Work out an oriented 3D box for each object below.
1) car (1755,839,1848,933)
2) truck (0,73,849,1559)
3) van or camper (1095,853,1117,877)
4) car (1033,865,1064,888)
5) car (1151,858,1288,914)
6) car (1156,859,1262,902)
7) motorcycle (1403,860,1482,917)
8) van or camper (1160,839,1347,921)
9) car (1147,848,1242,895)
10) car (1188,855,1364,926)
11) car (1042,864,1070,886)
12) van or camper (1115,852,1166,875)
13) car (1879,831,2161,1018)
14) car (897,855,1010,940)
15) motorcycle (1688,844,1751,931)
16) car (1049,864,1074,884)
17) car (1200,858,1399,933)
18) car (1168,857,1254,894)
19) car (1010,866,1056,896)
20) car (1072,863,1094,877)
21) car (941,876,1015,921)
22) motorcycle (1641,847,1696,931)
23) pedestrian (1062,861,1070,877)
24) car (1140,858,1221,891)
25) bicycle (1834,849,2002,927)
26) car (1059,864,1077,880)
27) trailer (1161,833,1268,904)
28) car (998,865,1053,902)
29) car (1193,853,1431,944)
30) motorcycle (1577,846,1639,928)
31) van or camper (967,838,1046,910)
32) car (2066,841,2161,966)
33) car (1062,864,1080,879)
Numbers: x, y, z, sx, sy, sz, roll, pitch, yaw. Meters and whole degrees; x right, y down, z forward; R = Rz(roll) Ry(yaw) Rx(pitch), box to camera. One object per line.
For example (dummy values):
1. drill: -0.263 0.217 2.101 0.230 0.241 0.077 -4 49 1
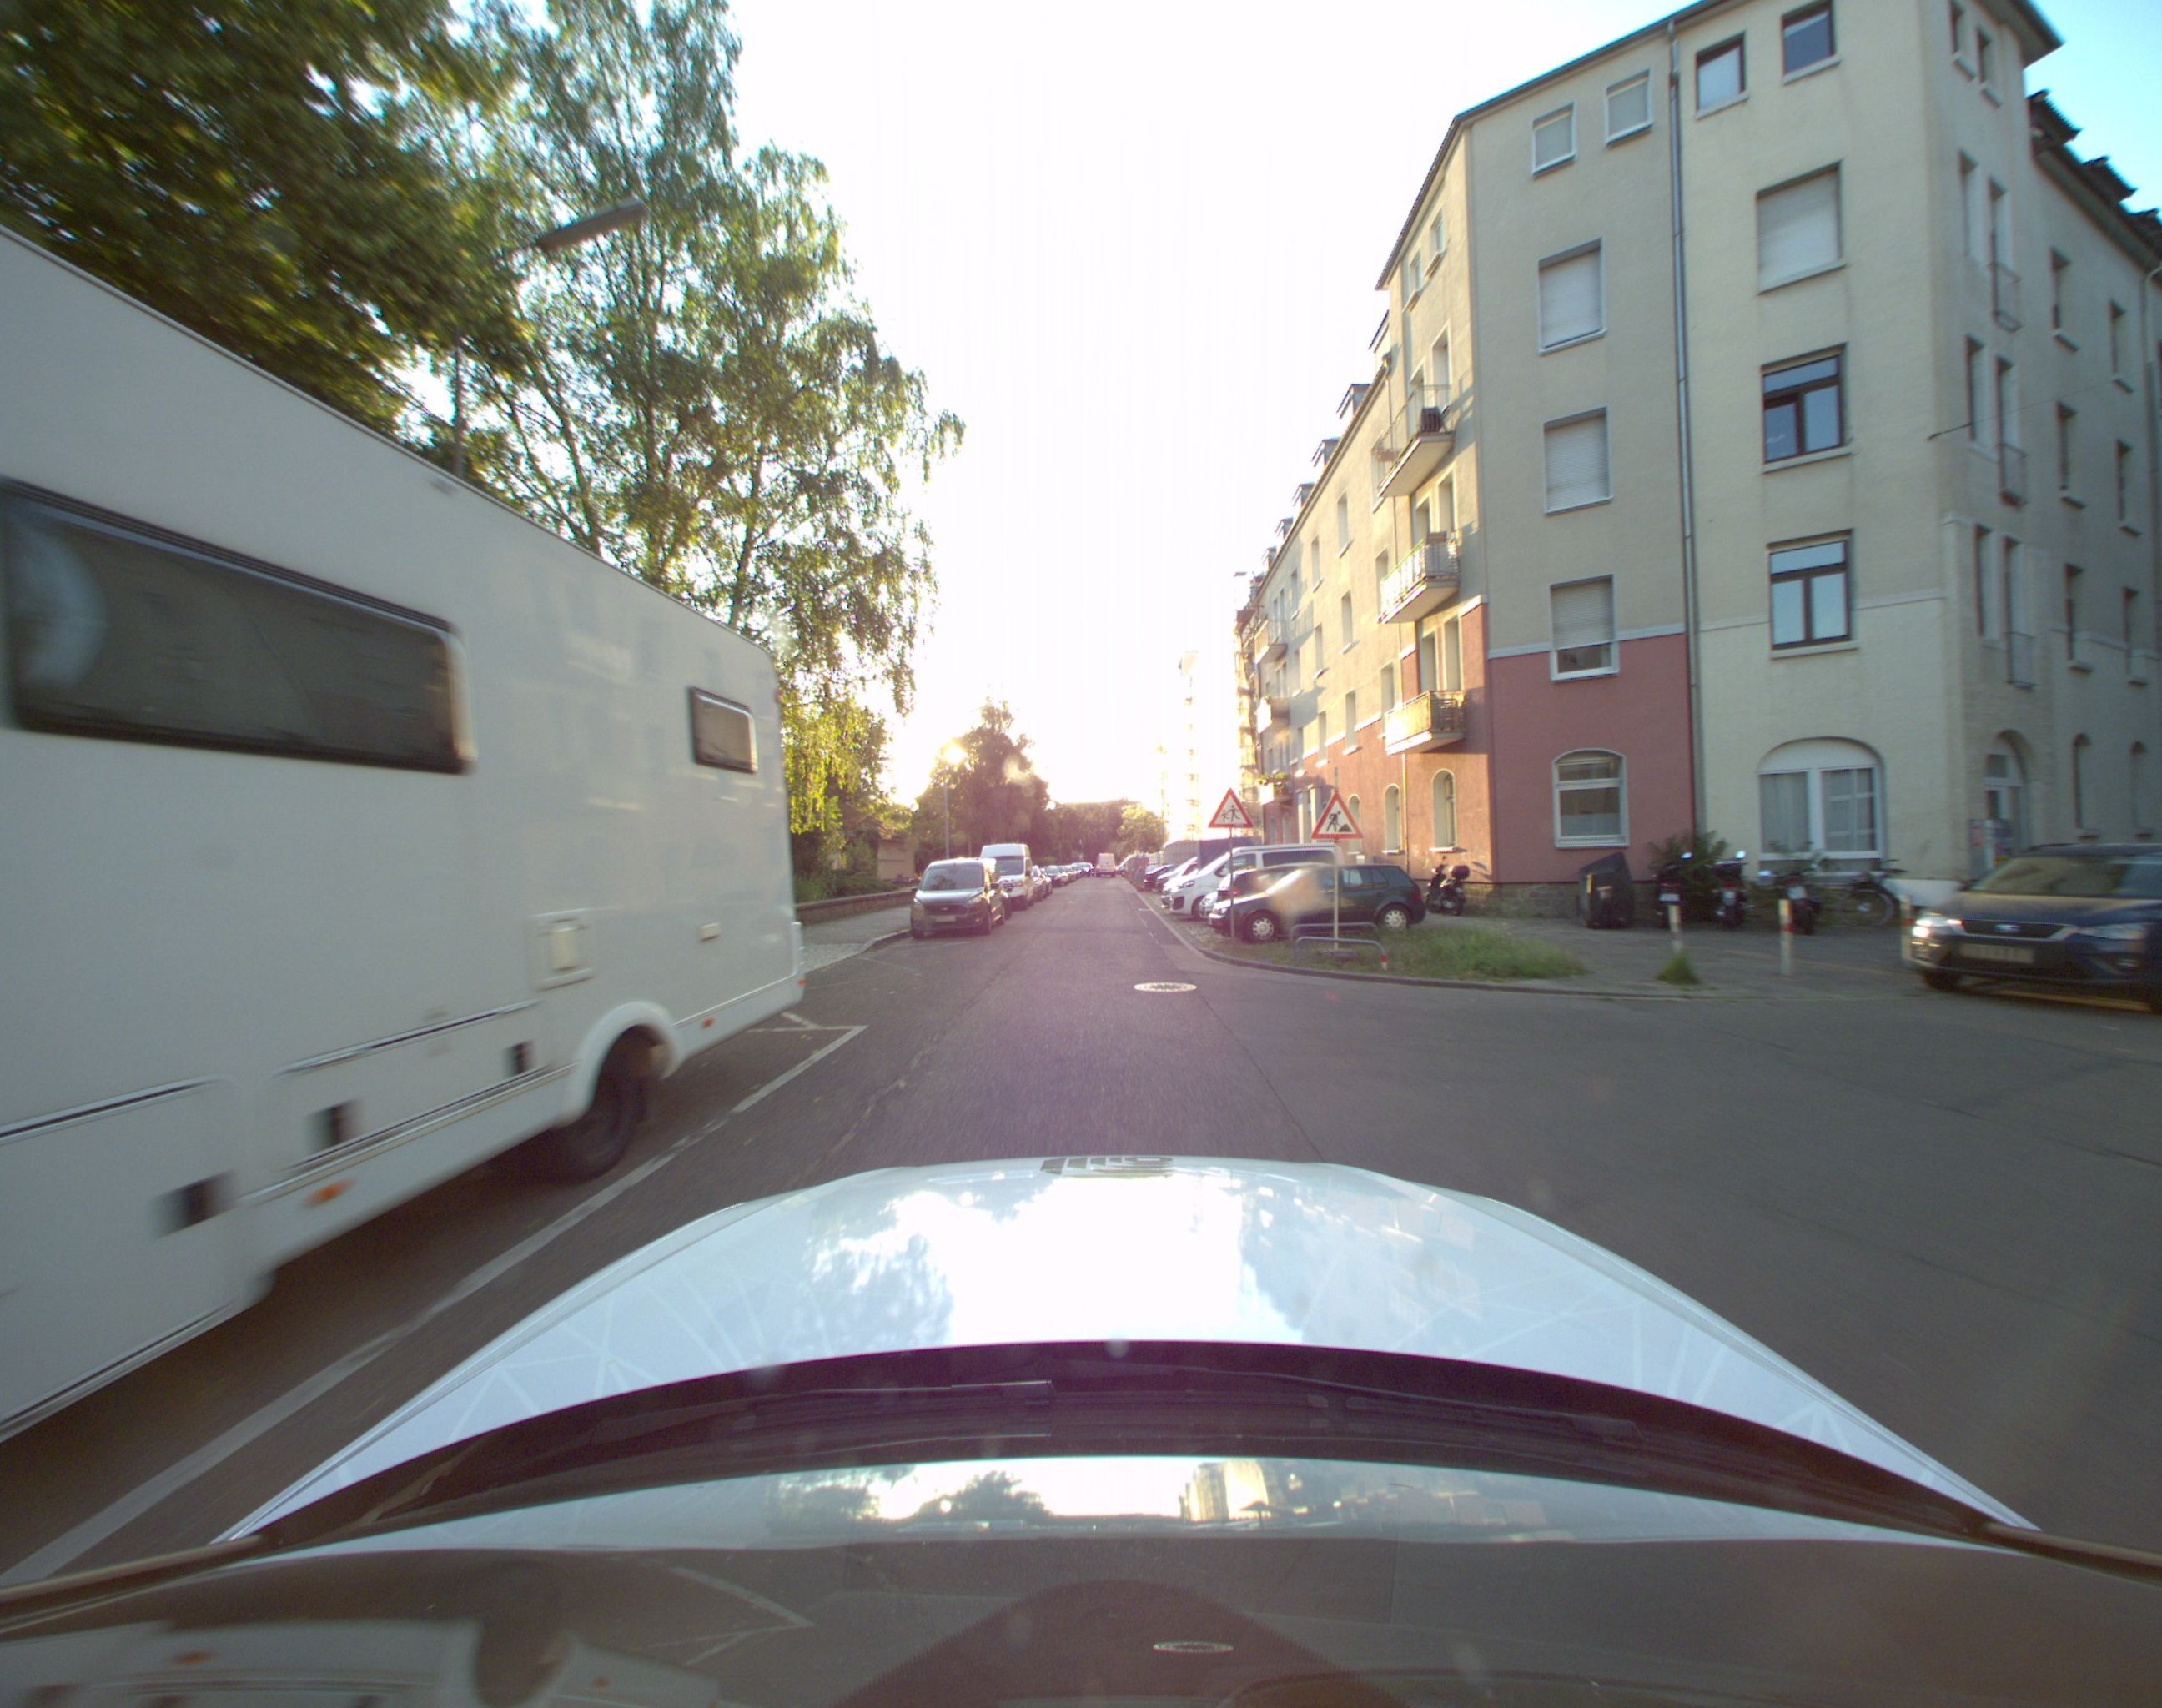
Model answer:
1. car: 12.378 0.501 14.080 0.835 1.456 2.795 -2 -1 35
2. truck: -3.614 -0.062 3.251 2.515 3.353 8.022 -4 -1 3
3. van or camper: 2.838 1.265 93.010 2.444 2.547 6.085 1 -1 2
4. car: -2.188 1.485 55.182 1.988 1.453 3.997 -1 -1 -1
5. car: 4.306 0.992 25.837 3.975 1.640 1.999 -1 -1 -1
6. car: 5.146 1.056 33.091 3.976 1.638 1.902 -1 -1 -2
7. motorcycle: 8.520 0.769 19.348 0.739 1.235 2.654 -1 -1 2
8. van or camper: 4.736 0.695 22.882 4.817 2.096 2.040 -1 -1 0
9. car: 5.566 0.824 40.193 4.261 1.980 1.818 -4 0 -7
10. car: 4.854 0.890 20.733 3.975 1.618 1.999 -1 -1 -1
11. car: -1.802 1.522 60.753 1.776 1.445 4.749 -4 -1 1
12. van or camper: 7.094 1.128 97.326 5.908 2.770 2.109 0 -1 0
13. car: 10.605 0.574 8.471 4.002 1.573 1.816 -1 -1 -22
14. car: -3.004 0.964 20.259 1.904 1.788 4.949 -2 -1 0
15. motorcycle: 11.548 0.553 14.789 0.735 1.434 2.670 -2 -1 35
16. car: -1.621 1.653 69.282 1.853 1.538 4.759 -2 -1 1
17. car: 4.864 0.906 18.538 3.975 1.530 1.999 -1 -1 -1
18. car: 6.010 0.993 37.933 3.681 1.610 1.744 -1 -1 -1
19. car: -2.445 1.376 42.716 1.986 1.453 4.290 -1 -1 2
20. car: 0.275 1.838 96.659 1.794 1.569 4.576 -2 -1 9
21. car: -3.109 1.321 25.372 1.989 1.189 4.031 -1 -1 -4
22. motorcycle: 10.881 0.592 15.100 0.735 1.434 2.368 -2 -1 36
23. pedestrian: -1.849 1.834 99.463 0.935 1.830 0.787 0 -1 0
24. car: 5.208 1.067 43.089 4.136 1.615 1.873 -1 -1 3
25. bicycle: 14.378 0.572 14.068 1.880 1.282 0.689 -1 -1 27
26. car: -1.228 1.783 80.327 1.596 1.431 3.803 -4 -1 0
27. trailer: 4.931 0.542 30.461 3.557 2.337 1.939 -4 -1 -2
28. car: -2.458 1.306 37.097 1.986 1.519 4.791 -1 -1 2
29. car: 4.398 0.830 15.942 4.091 1.585 1.853 -1 -1 -2
30. motorcycle: 10.030 0.579 15.458 0.828 1.434 2.368 -2 -1 36
31. van or camper: -2.711 0.706 31.205 1.985 2.457 6.089 -1 -1 4
32. car: 14.990 0.576 10.612 4.010 1.505 1.953 -1 -1 -28
33. car: -1.048 1.833 86.734 1.709 1.496 4.360 -3 -1 0
